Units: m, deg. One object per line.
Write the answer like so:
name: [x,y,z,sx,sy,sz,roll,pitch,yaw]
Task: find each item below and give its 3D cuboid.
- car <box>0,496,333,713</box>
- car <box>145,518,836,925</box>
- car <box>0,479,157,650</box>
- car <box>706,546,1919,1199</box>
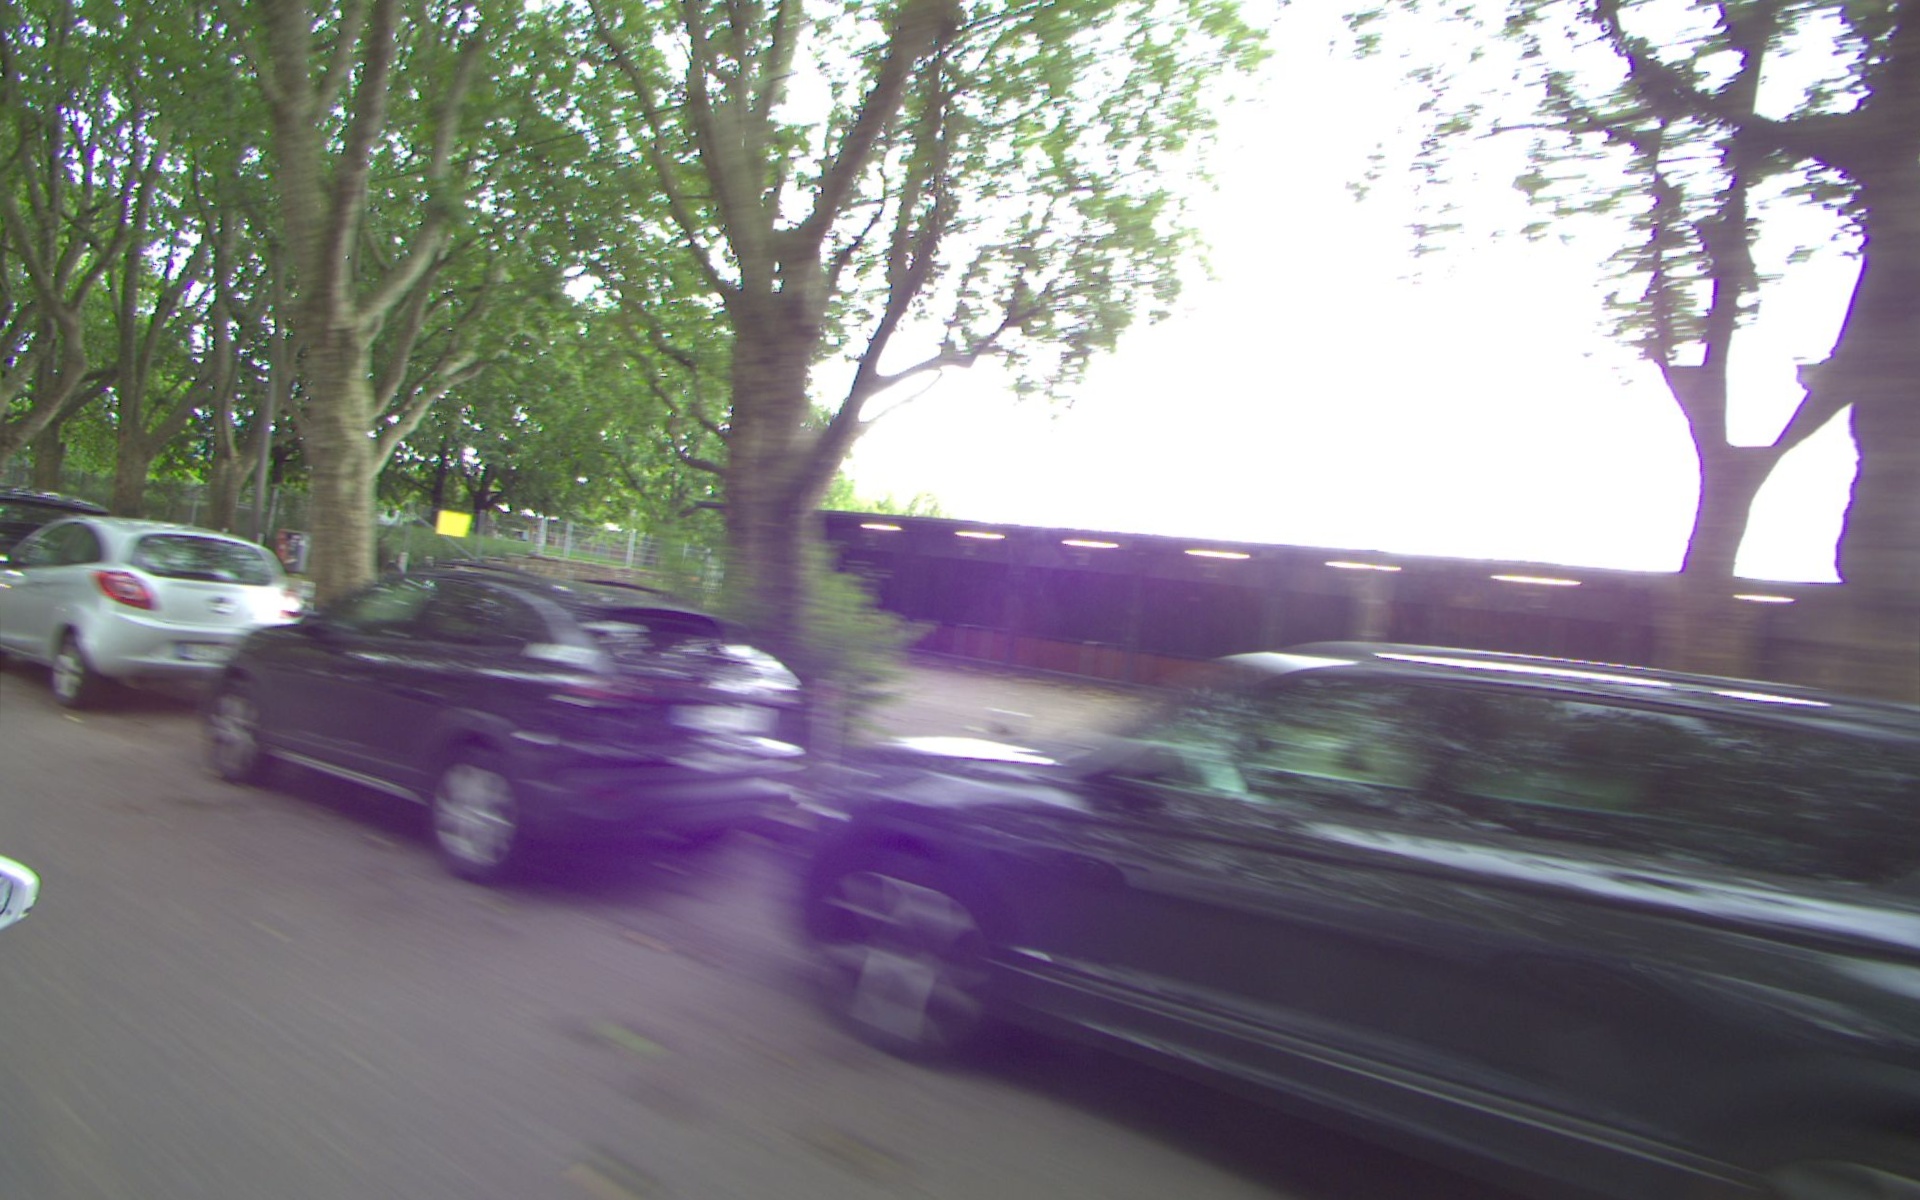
car: [-7.501,-0.023,9.049,3.649,1.457,1.620,7,-2,33]
car: [-3.047,0.524,6.219,4.282,1.526,1.672,7,-2,32]
car: [-11.518,-0.581,11.725,4.560,1.693,1.780,7,-1,31]
car: [1.394,0.918,3.564,4.365,1.638,1.759,7,-2,32]
